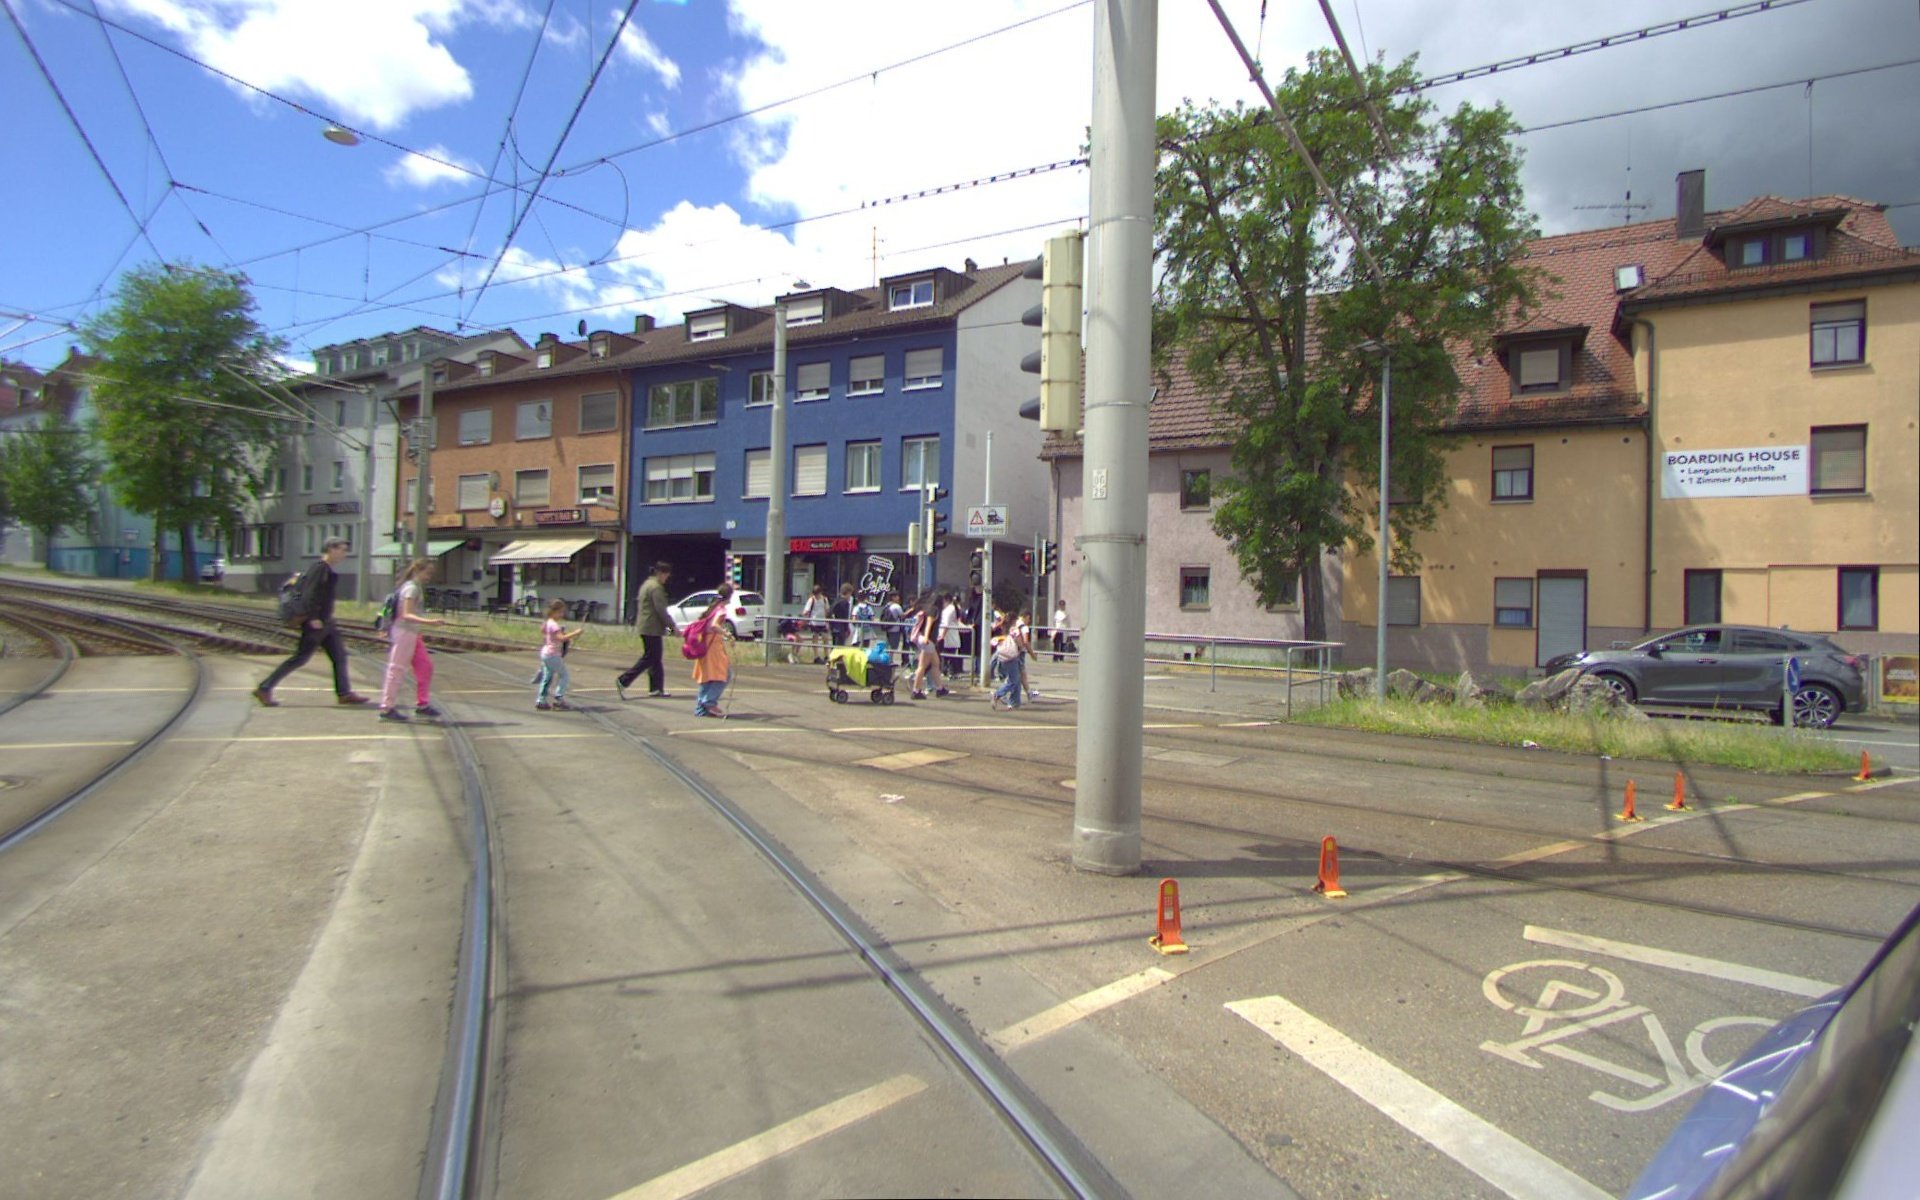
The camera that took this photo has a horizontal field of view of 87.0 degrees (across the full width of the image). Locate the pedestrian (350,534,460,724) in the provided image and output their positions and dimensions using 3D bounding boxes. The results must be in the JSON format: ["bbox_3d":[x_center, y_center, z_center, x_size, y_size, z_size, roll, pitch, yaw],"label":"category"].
[{"bbox_3d":[-5.406,0.277,9.908,0.679,1.772,0.753,1,0,-8],"label":"pedestrian"}]

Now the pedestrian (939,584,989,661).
[{"bbox_3d":[0.068,0.411,18.983,0.672,1.393,0.626,1,0,38],"label":"pedestrian"}]

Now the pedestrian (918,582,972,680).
[{"bbox_3d":[-0.254,0.501,16.891,0.577,1.585,0.674,1,0,-43],"label":"pedestrian"}]

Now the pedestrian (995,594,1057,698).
[{"bbox_3d":[0.924,0.628,14.216,0.661,1.418,0.588,1,0,-20],"label":"pedestrian"}]

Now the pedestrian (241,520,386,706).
[{"bbox_3d":[-6.815,0.128,10.711,0.951,1.865,0.824,1,0,7],"label":"pedestrian"}]

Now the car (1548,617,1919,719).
[{"bbox_3d":[12.234,1.020,16.176,4.812,1.388,1.900,0,-2,29],"label":"car"}]

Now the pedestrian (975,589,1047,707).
[{"bbox_3d":[0.663,0.612,13.227,0.763,1.488,0.542,2,0,-21],"label":"pedestrian"}]

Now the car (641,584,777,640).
[{"bbox_3d":[-7.771,0.357,31.269,3.966,1.551,1.694,1,-2,30],"label":"car"}]

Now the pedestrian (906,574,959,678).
[{"bbox_3d":[-0.482,0.436,17.649,0.672,1.772,0.579,1,0,40],"label":"pedestrian"}]

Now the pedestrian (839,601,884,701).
[{"bbox_3d":[-1.783,0.907,18.401,0.738,1.772,0.587,1,0,0],"label":"pedestrian"}]

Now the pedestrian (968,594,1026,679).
[{"bbox_3d":[0.625,0.609,17.097,0.576,1.392,0.779,3,-2,-39],"label":"pedestrian"}]

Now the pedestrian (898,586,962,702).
[{"bbox_3d":[-0.414,0.595,14.029,0.661,1.546,0.588,2,0,-27],"label":"pedestrian"}]

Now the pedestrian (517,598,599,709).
[{"bbox_3d":[-4.482,0.582,11.319,0.662,1.182,0.587,1,0,0],"label":"pedestrian"}]

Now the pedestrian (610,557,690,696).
[{"bbox_3d":[-3.875,0.322,12.637,0.873,1.672,0.827,1,0,-20],"label":"pedestrian"}]

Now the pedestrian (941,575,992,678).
[{"bbox_3d":[0.120,0.460,17.999,0.672,1.772,0.579,1,0,40],"label":"pedestrian"}]

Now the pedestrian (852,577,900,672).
[{"bbox_3d":[-1.603,0.462,19.375,0.672,1.772,0.579,1,0,40],"label":"pedestrian"}]

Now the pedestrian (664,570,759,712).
[{"bbox_3d":[-2.730,0.438,11.187,0.838,1.500,0.742,1,0,0],"label":"pedestrian"}]

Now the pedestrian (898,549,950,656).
[{"bbox_3d":[-0.533,0.038,14.812,0.661,1.511,0.588,2,-2,-7],"label":"pedestrian"}]
